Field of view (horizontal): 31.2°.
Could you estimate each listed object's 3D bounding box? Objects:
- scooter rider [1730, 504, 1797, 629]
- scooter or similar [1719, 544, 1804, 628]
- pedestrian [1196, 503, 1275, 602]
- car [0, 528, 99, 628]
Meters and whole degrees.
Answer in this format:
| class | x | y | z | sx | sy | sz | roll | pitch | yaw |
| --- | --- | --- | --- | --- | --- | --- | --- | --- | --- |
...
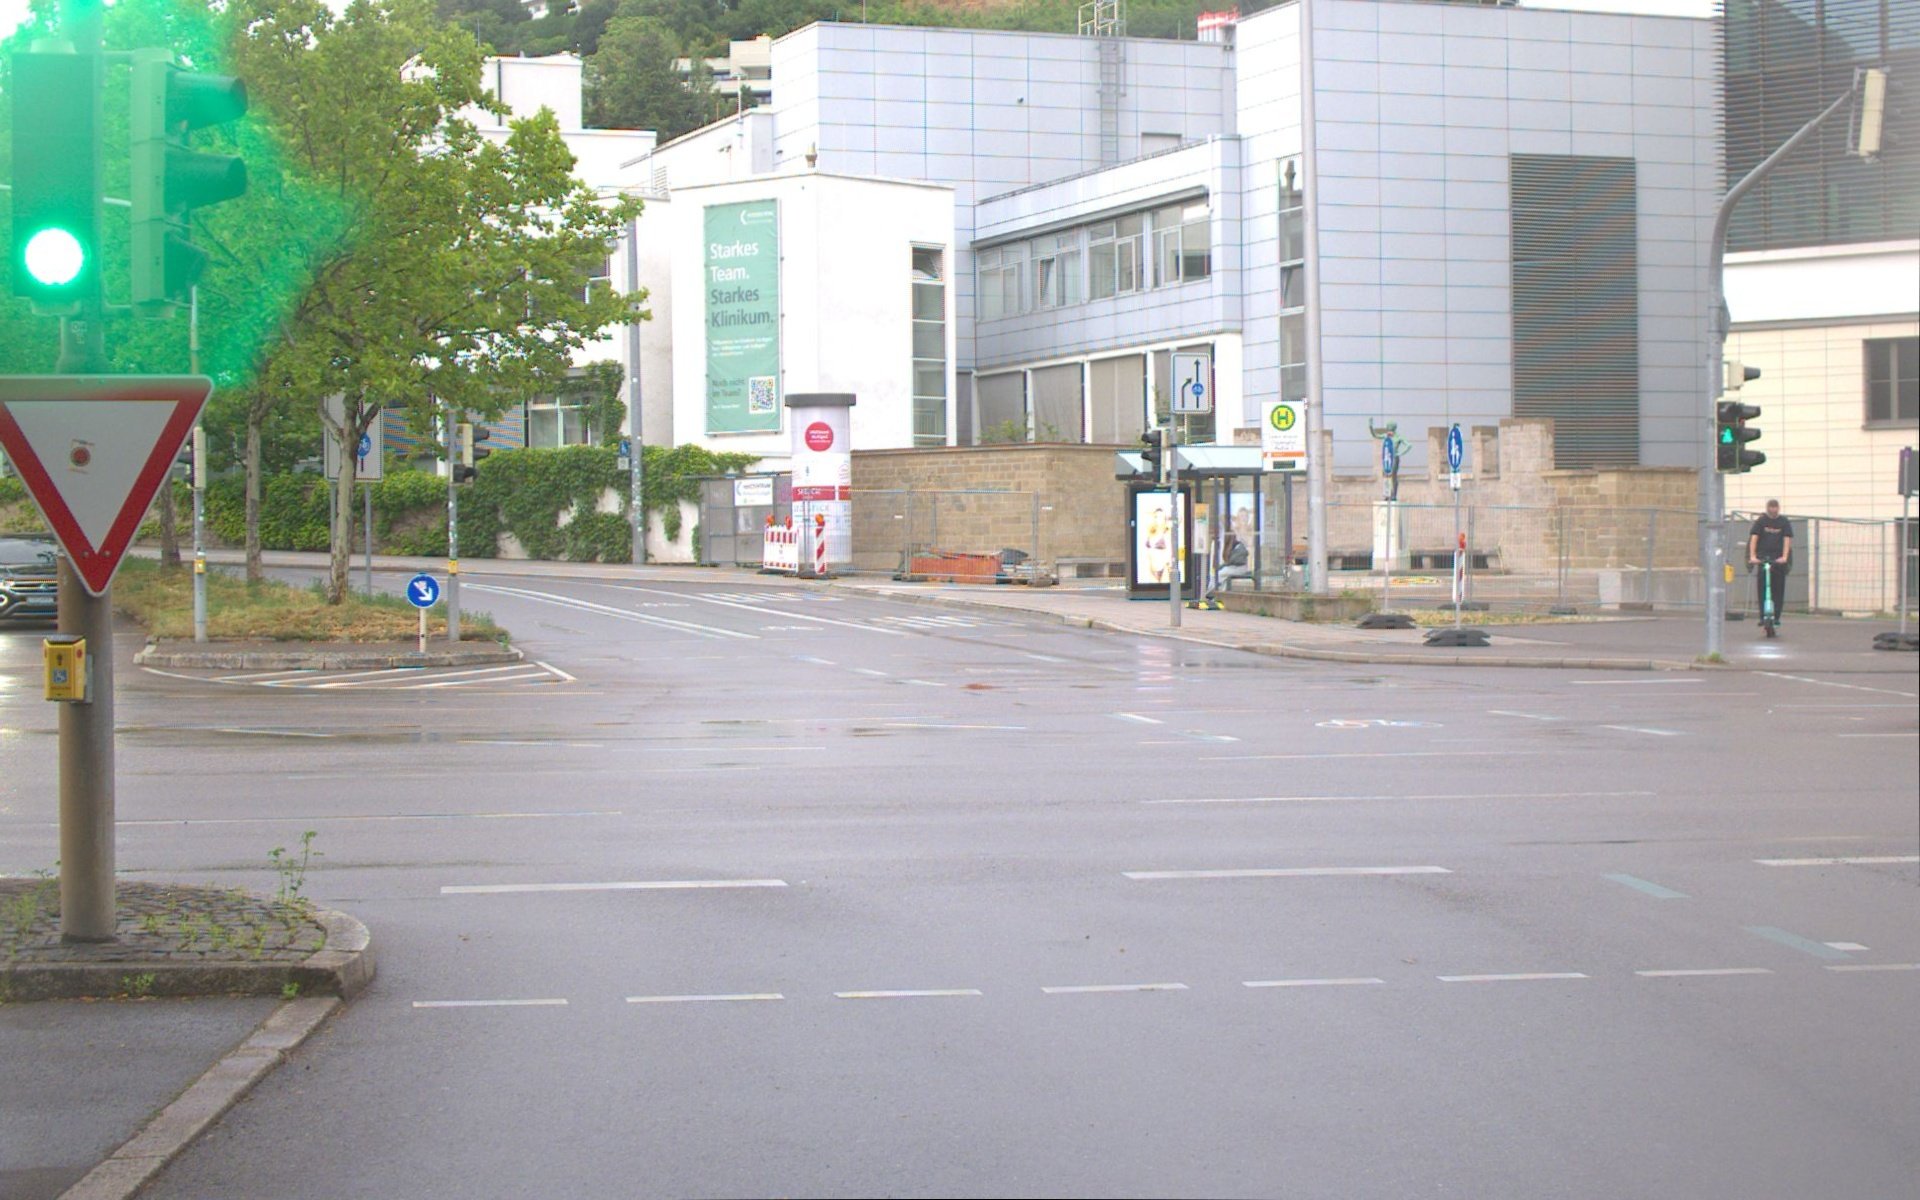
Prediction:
| class | x | y | z | sx | sy | sz | roll | pitch | yaw |
| --- | --- | --- | --- | --- | --- | --- | --- | --- | --- |
| scooter rider | 12.189 | -0.503 | 52.172 | 0.723 | 1.877 | 0.632 | 1 | 0 | -20 |
| scooter or similar | 12.150 | -0.212 | 52.155 | 0.591 | 1.234 | 1.314 | 1 | 0 | -22 |
| pedestrian | 4.920 | -0.840 | 61.499 | 1.257 | 1.713 | 1.016 | 1 | 0 | -2 |
| car | -15.643 | -0.400 | 57.622 | 1.788 | 1.579 | 4.001 | -1 | 2 | -22 |
